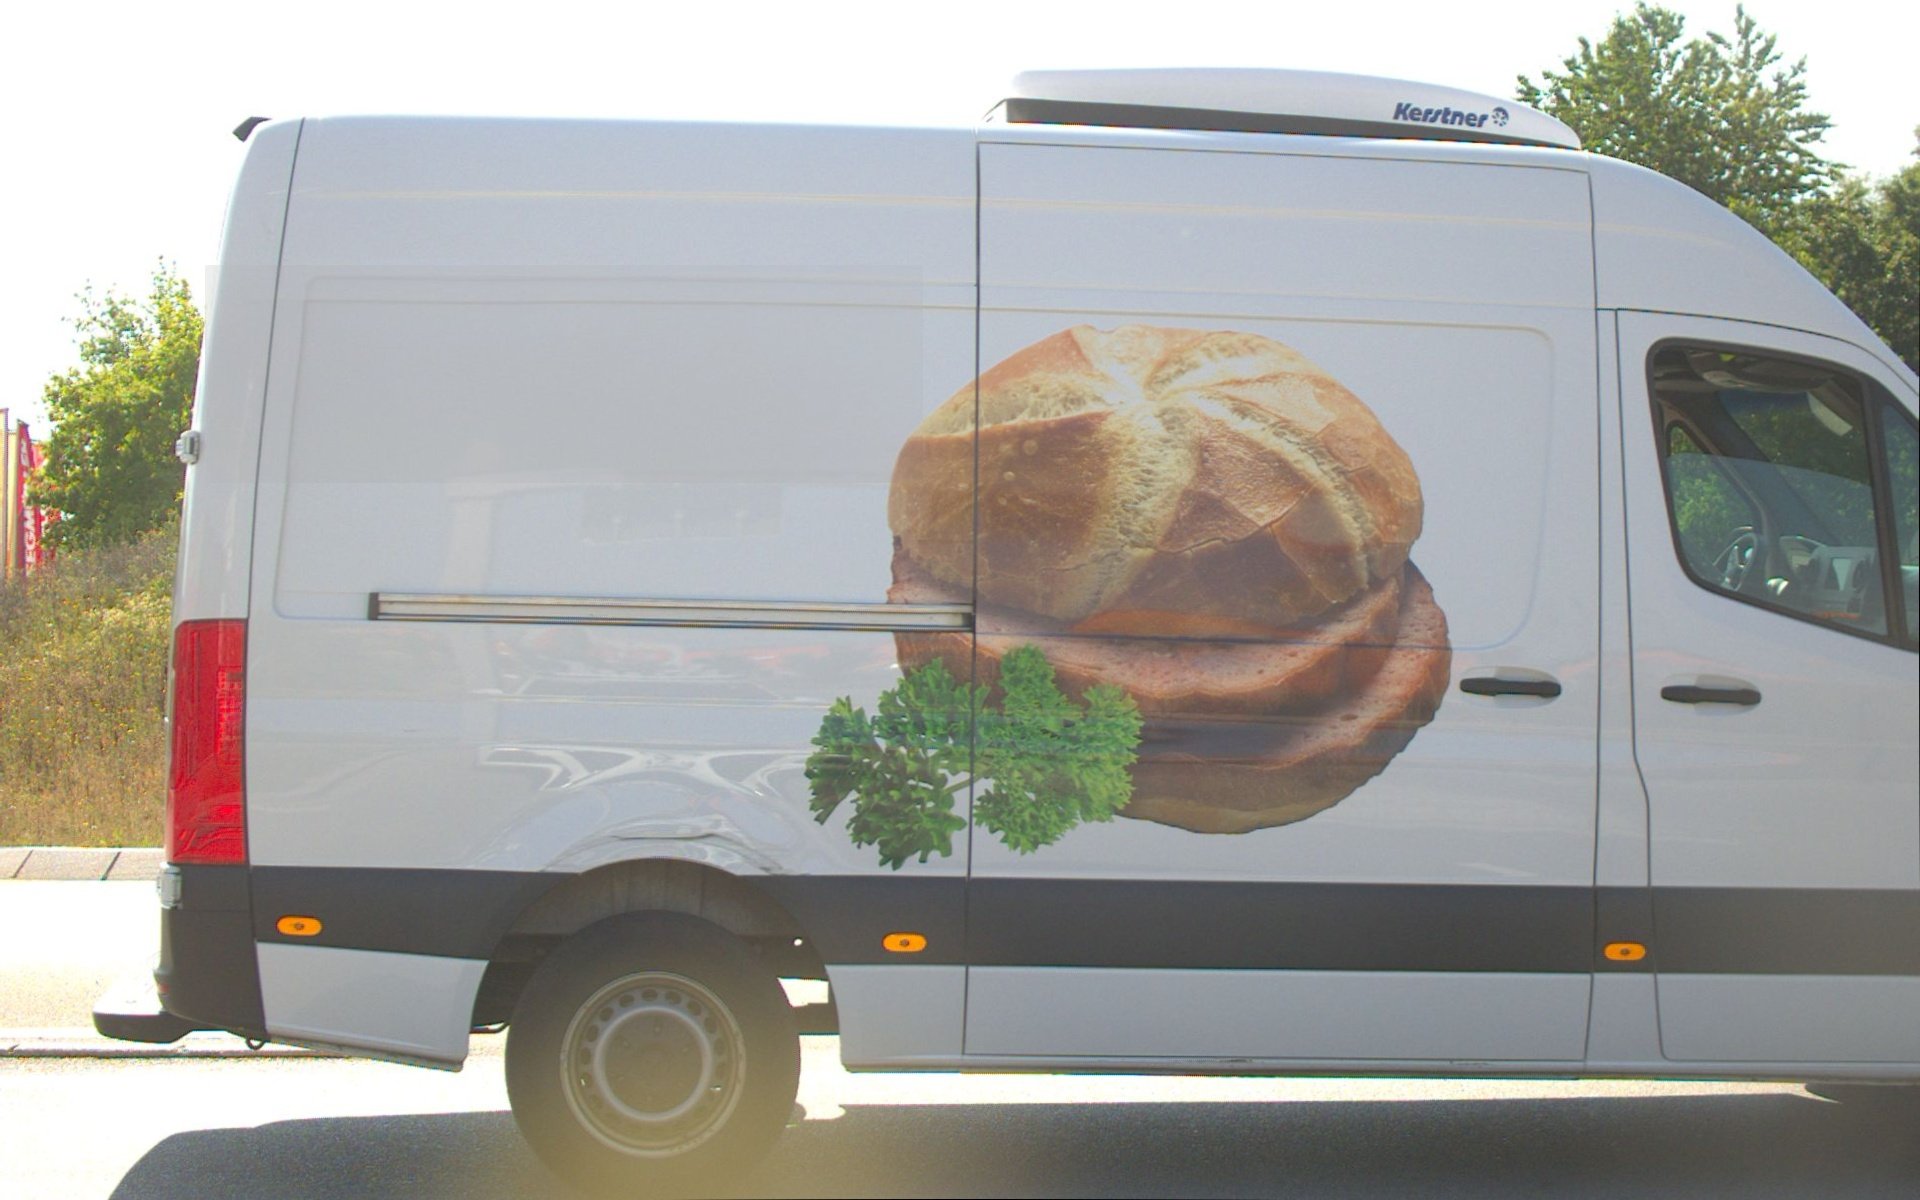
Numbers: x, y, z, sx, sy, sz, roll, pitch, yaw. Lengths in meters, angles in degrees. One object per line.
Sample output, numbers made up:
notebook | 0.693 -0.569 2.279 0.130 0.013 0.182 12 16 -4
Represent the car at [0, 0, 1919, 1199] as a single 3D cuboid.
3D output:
car | 0.747 -0.052 9.032 6.117 2.911 2.085 1 0 -4
